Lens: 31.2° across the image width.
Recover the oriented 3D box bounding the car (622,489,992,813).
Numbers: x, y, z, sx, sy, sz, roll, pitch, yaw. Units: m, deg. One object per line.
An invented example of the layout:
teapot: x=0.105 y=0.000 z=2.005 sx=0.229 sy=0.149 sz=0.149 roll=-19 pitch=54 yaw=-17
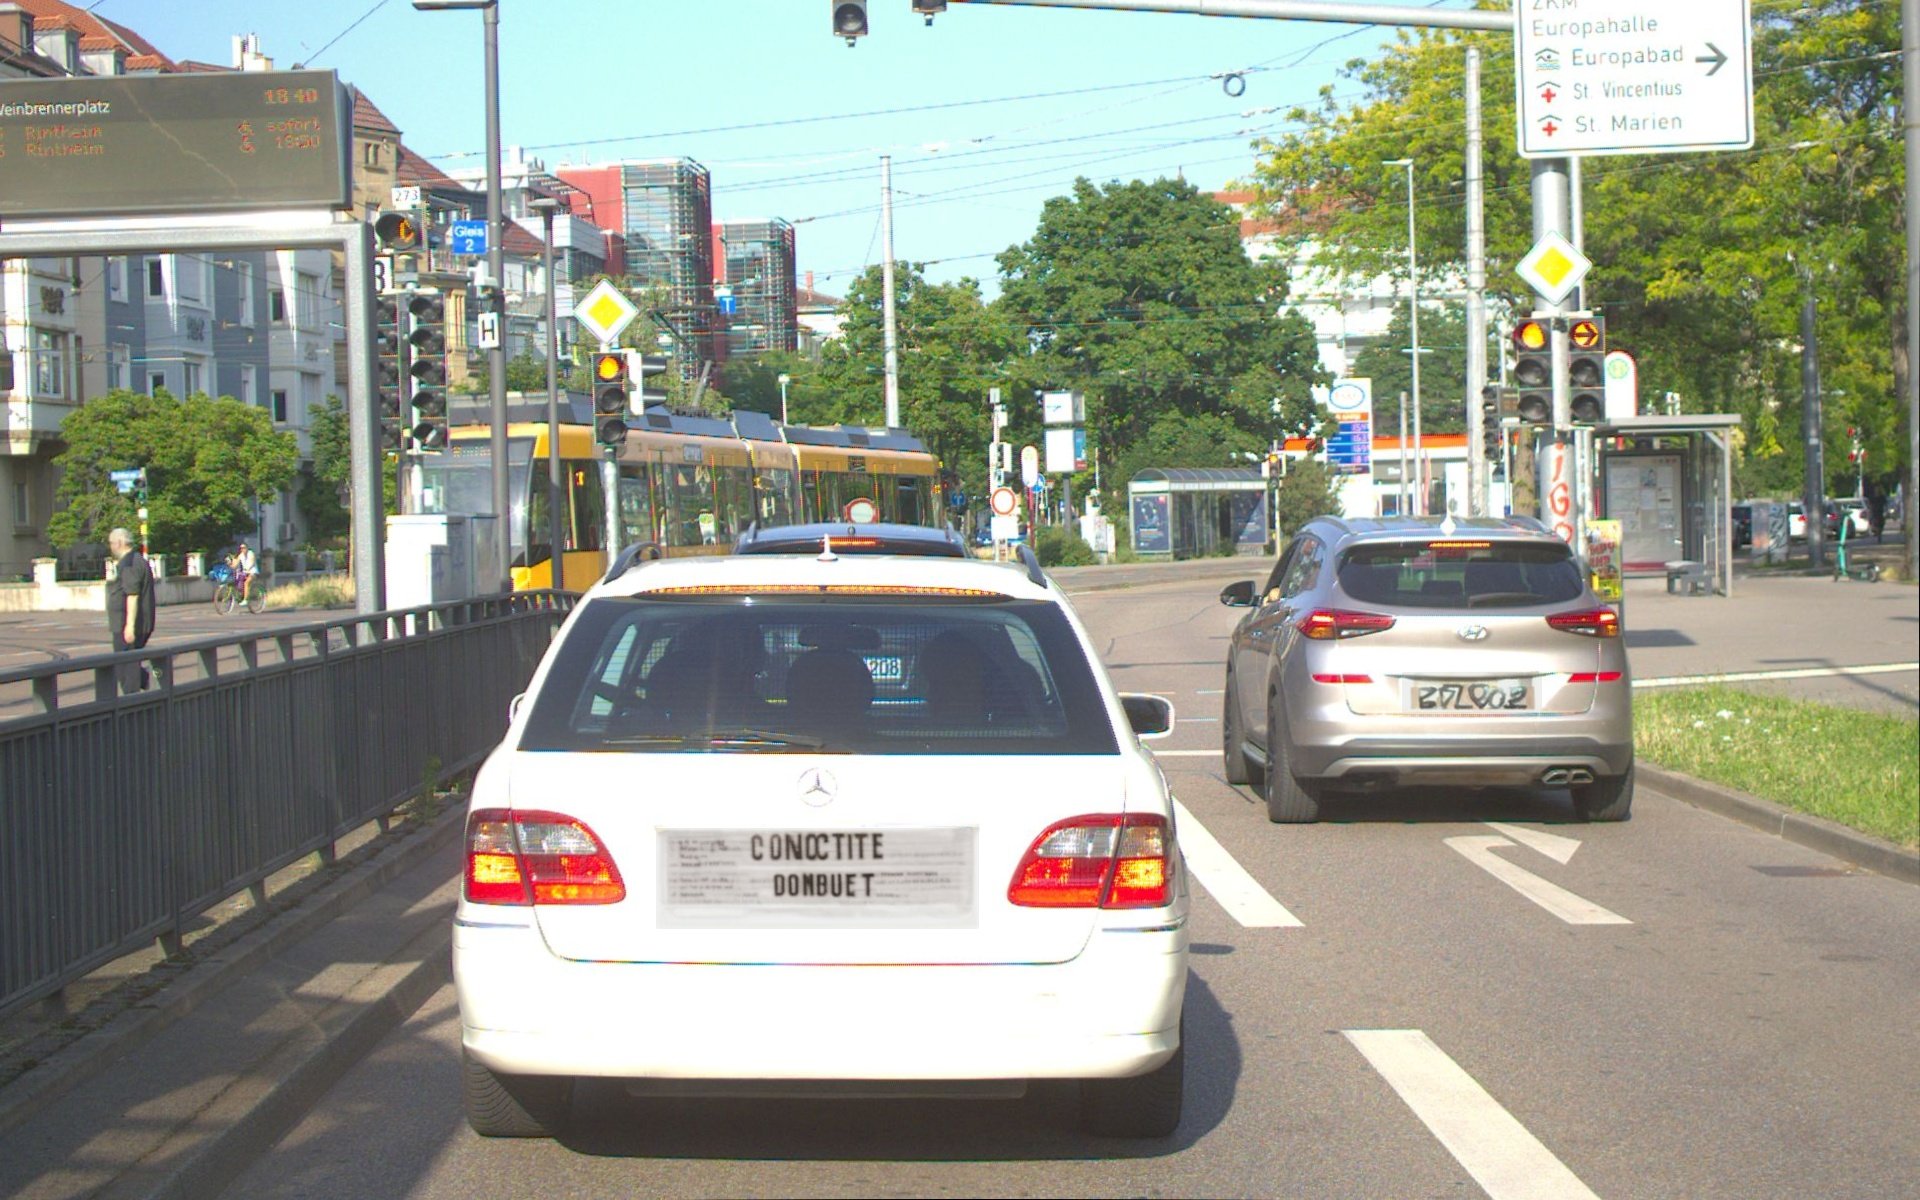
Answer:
car: x=-0.813 y=0.230 z=19.550 sx=1.885 sy=1.645 sz=3.648 roll=1 pitch=1 yaw=-1

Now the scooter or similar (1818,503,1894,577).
scooter or similar: x=13.719 y=-0.917 z=52.650 sx=0.419 sy=1.113 sz=1.330 roll=-2 pitch=1 yaw=-20

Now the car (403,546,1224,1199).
car: x=-0.346 y=0.594 z=9.358 sx=1.796 sy=1.465 sz=3.648 roll=0 pitch=1 yaw=-1

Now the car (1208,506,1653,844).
car: x=2.502 y=0.341 z=19.118 sx=1.885 sy=1.645 sz=3.648 roll=-2 pitch=1 yaw=-1

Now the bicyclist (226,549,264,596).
bicyclist: x=-16.203 y=-0.621 z=77.927 sx=0.513 sy=1.041 sz=0.678 roll=-1 pitch=1 yaw=26

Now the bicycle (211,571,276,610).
bicycle: x=-16.229 y=-0.222 z=77.870 sx=0.526 sy=0.831 sz=1.684 roll=-1 pitch=1 yaw=24

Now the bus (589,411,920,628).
bus: x=-3.520 y=-1.394 z=63.631 sx=3.110 sy=3.593 sz=12.585 roll=1 pitch=1 yaw=11

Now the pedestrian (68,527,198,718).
pedestrian: x=-7.320 y=0.191 z=30.436 sx=0.792 sy=1.639 sz=0.757 roll=-2 pitch=1 yaw=-44

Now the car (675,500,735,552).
car: x=-10.128 y=-2.924 z=136.947 sx=2.075 sy=2.007 sz=4.163 roll=1 pitch=0 yaw=0

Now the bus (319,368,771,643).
bus: x=-5.817 y=-1.297 z=51.296 sx=3.110 sy=3.593 sz=12.369 roll=1 pitch=1 yaw=10
